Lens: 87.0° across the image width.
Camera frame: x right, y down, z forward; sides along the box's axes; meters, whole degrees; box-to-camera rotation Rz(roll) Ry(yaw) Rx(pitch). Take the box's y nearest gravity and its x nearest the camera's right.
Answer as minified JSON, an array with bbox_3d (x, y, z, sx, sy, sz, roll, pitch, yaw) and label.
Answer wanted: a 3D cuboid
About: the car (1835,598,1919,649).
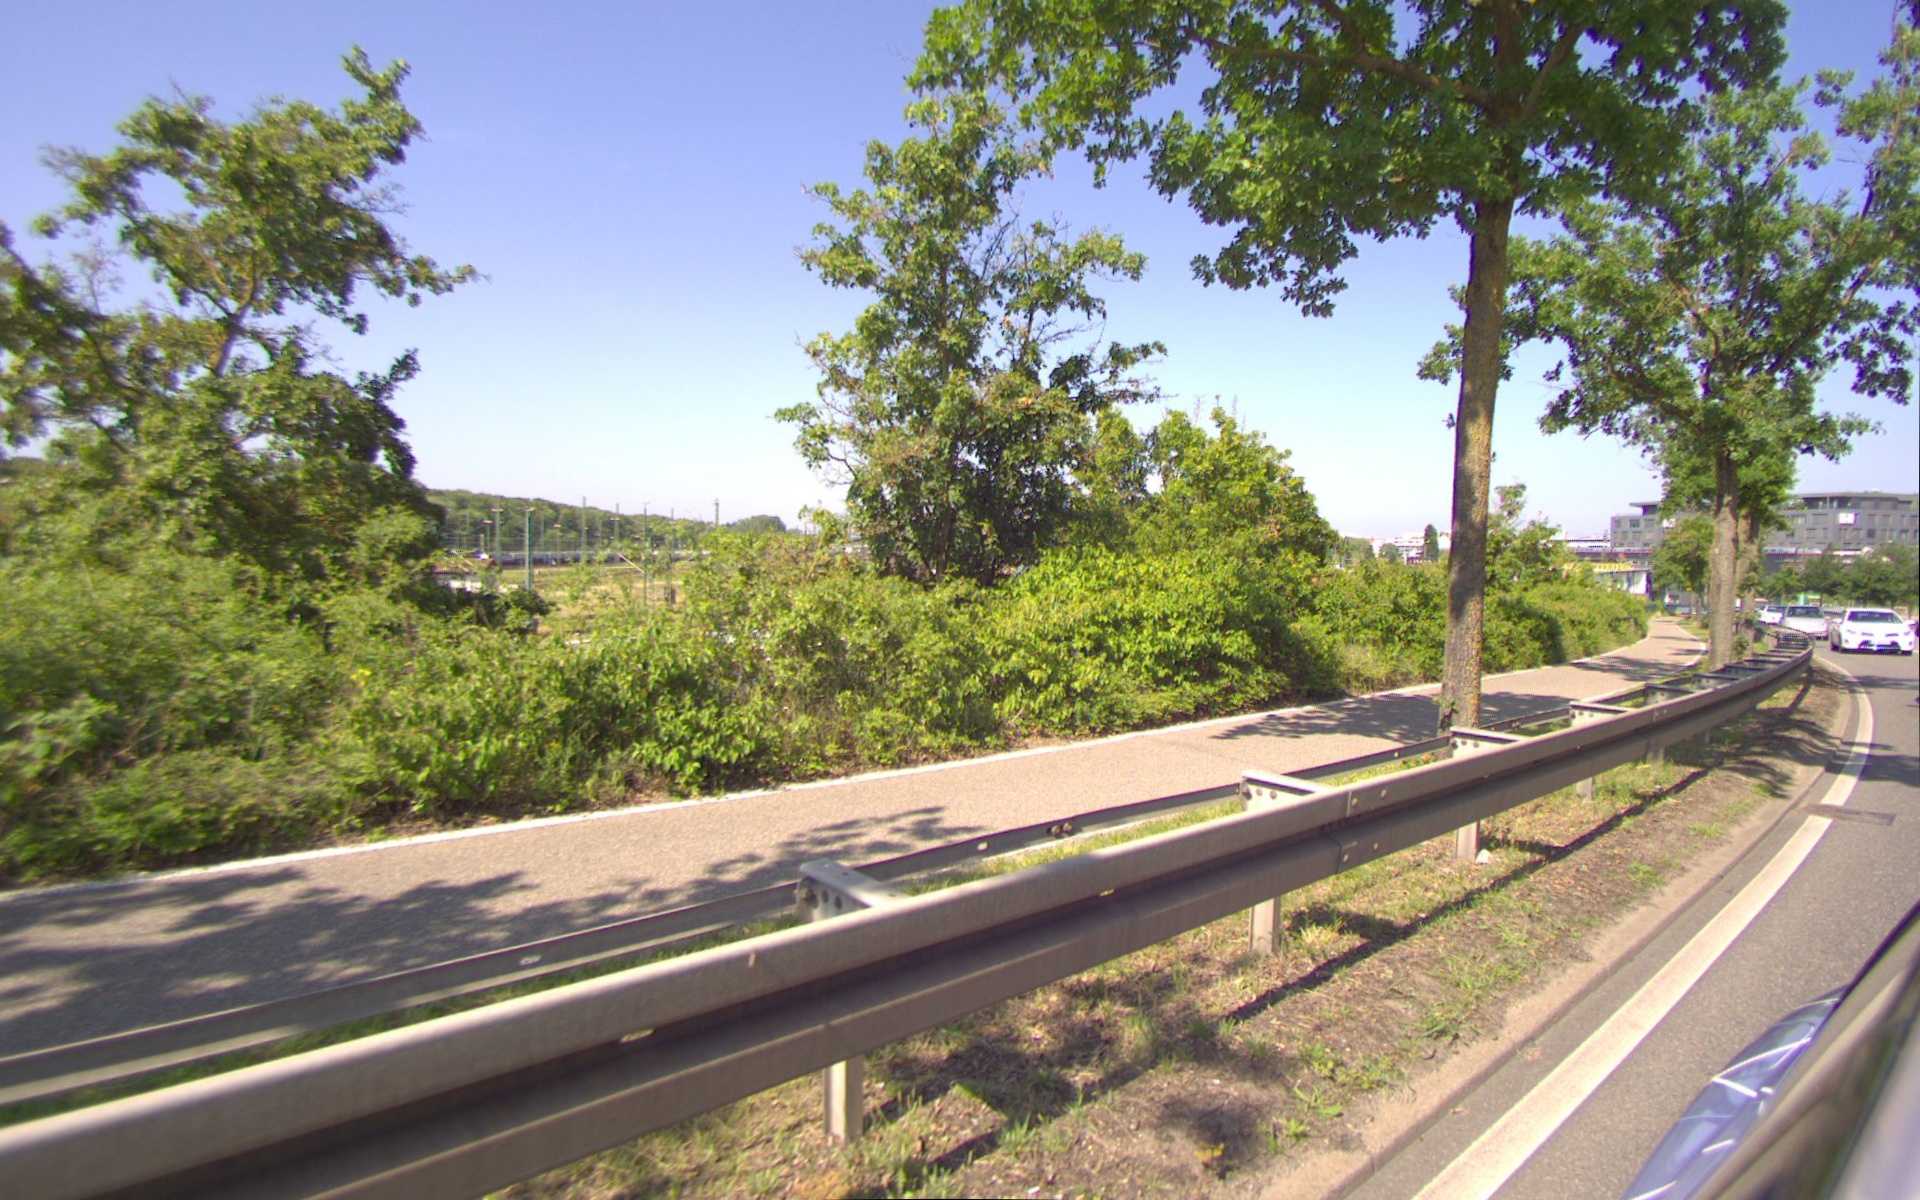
[{"bbox_3d":[29.759,0.718,32.752,1.836,1.507,4.097,1,1,36],"label":"car"}]

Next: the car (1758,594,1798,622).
[{"bbox_3d":[55.172,0.532,68.318,1.989,1.790,3.945,0,0,38],"label":"car"}]

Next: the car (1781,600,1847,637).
[{"bbox_3d":[39.477,0.803,46.871,1.988,1.605,3.948,1,0,36],"label":"car"}]
